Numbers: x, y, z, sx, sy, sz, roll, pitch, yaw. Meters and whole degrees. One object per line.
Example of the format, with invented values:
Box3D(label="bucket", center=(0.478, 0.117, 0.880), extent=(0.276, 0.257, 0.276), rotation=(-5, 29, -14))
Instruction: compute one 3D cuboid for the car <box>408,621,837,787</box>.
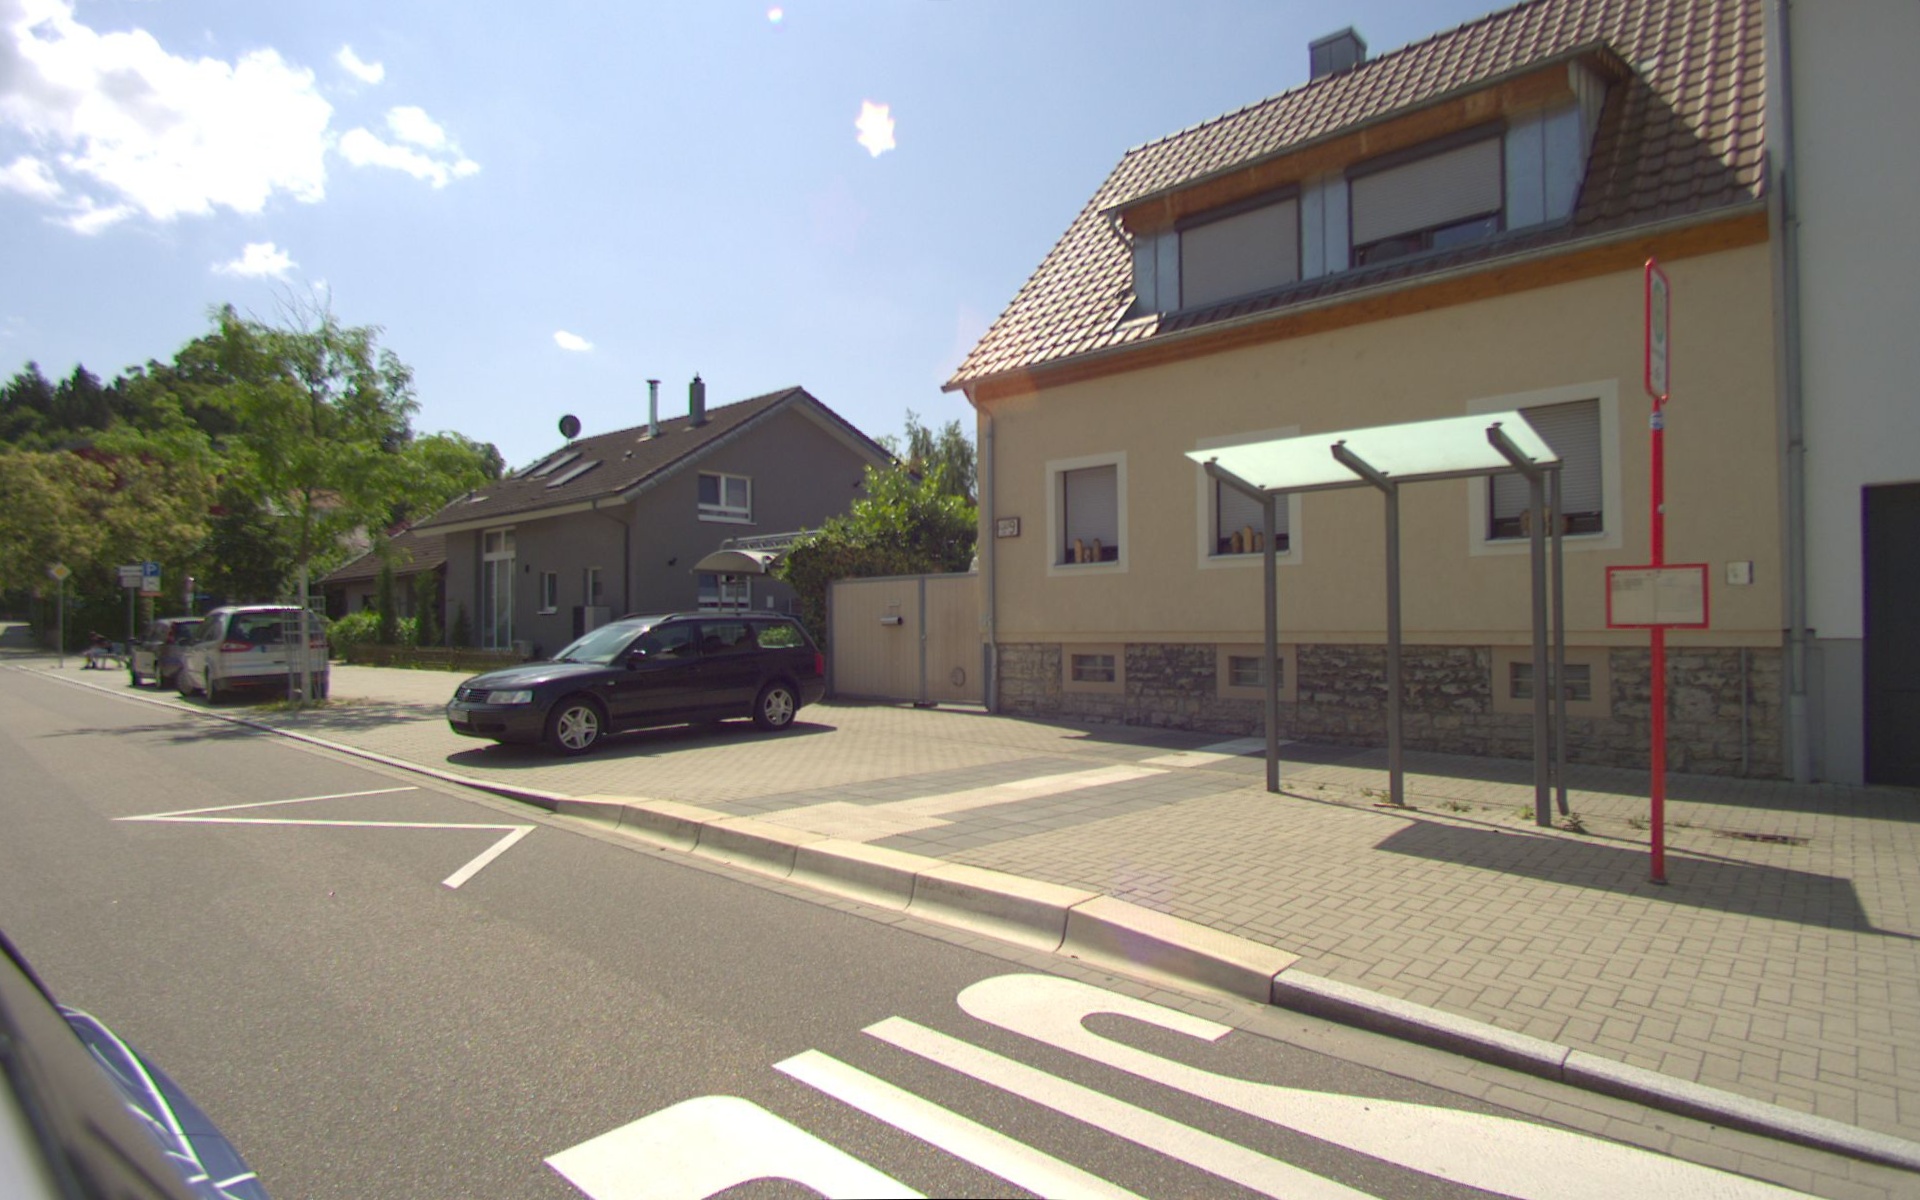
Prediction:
Box3D(label="car", center=(-3.807, 1.053, 12.086), extent=(1.901, 1.528, 4.538), rotation=(-2, -1, 42))

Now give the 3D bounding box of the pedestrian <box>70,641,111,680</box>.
Box3D(label="pedestrian", center=(-27.222, 1.875, 31.678), extent=(0.884, 1.150, 0.805), rotation=(-1, 0, 38))

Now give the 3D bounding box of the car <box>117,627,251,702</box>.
Box3D(label="car", center=(-17.902, 1.449, 23.297), extent=(3.907, 1.536, 1.704), rotation=(-3, -1, 41))

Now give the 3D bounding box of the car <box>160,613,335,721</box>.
Box3D(label="car", center=(-13.527, 1.210, 19.085), extent=(4.686, 1.761, 1.819), rotation=(-3, -2, 44))

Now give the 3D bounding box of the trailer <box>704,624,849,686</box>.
Box3D(label="trailer", center=(-4.695, 1.368, 26.263), extent=(1.582, 1.399, 3.599), rotation=(-1, 0, 36))
